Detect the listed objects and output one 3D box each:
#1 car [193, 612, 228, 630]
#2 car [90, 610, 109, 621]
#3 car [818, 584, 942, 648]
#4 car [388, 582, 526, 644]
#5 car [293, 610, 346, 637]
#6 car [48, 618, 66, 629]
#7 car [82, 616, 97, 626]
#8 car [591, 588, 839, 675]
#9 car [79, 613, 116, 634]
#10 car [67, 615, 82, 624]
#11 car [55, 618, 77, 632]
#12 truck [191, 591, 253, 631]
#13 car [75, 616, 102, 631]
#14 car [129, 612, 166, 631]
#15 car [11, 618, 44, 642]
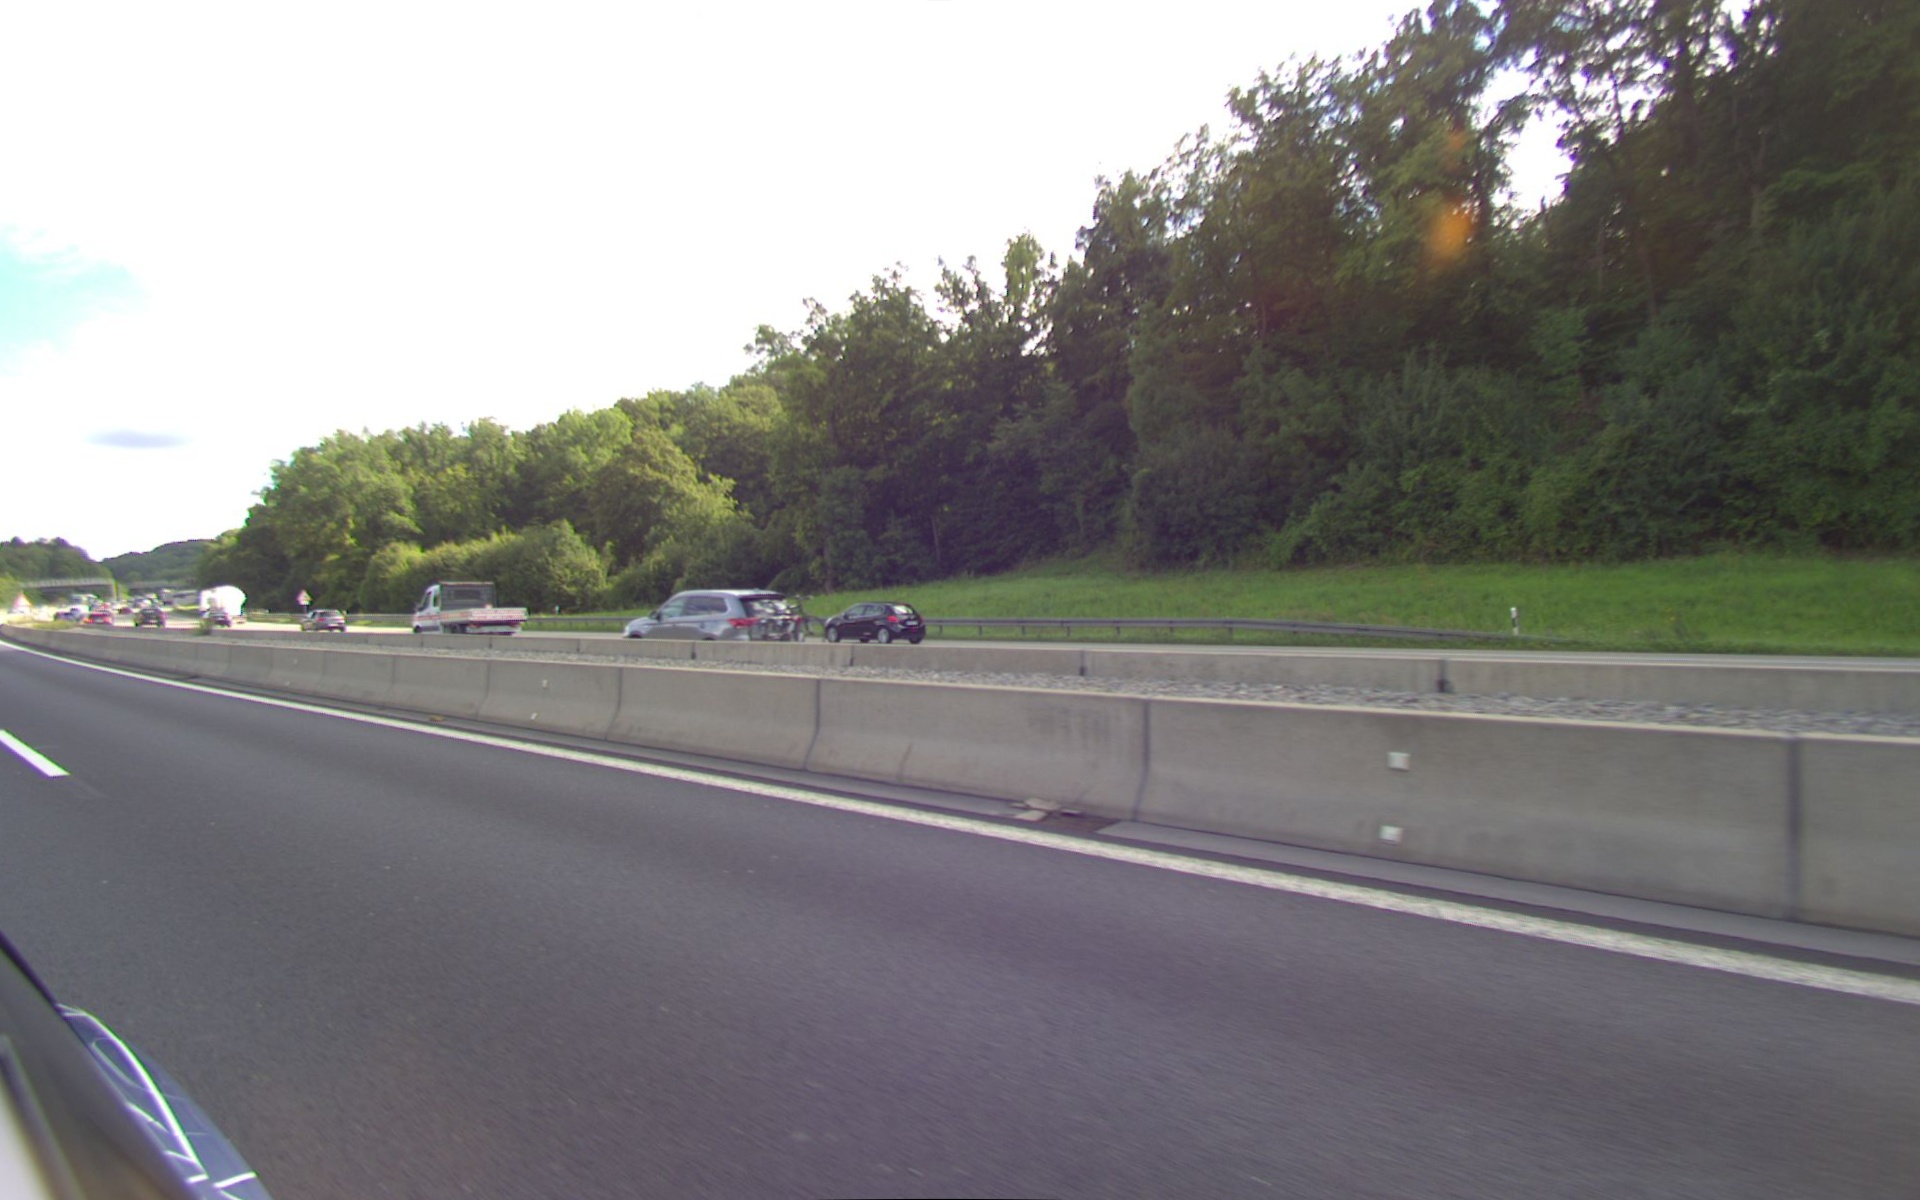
[{"bbox_3d":[-66.145,1.830,89.302,4.344,1.476,1.879,-1,0,45],"label":"car"},{"bbox_3d":[-142.479,2.634,167.495,4.002,1.767,2.075,-1,0,45],"label":"car"},{"bbox_3d":[-2.751,0.545,34.416,3.999,2.050,1.972,-1,0,42],"label":"car"},{"bbox_3d":[-19.436,0.492,38.837,8.079,2.146,2.176,-1,0,44],"label":"car"},{"bbox_3d":[-40.423,1.479,63.841,4.189,1.651,1.708,-1,0,41],"label":"car"},{"bbox_3d":[-122.836,3.193,137.630,1.579,1.509,4.067,-1,0,-44],"label":"car"},{"bbox_3d":[-165.762,4.039,192.673,2.074,1.767,4.004,-1,0,-43],"label":"car"},{"bbox_3d":[-5.179,0.600,20.735,5.960,1.521,1.961,-1,0,43],"label":"car"},{"bbox_3d":[-69.669,1.870,81.729,4.483,1.618,1.782,-1,0,43],"label":"car"},{"bbox_3d":[-175.236,3.898,200.200,2.096,1.767,4.004,-1,0,-43],"label":"car"},{"bbox_3d":[-103.500,2.922,117.189,3.843,1.542,1.580,-1,0,44],"label":"car"},{"bbox_3d":[-81.690,1.146,111.840,13.685,4.158,3.411,-1,0,45],"label":"truck"},{"bbox_3d":[-90.912,2.395,105.507,4.541,1.489,1.747,-1,0,45],"label":"car"},{"bbox_3d":[-72.272,1.927,89.973,5.042,1.627,2.014,-1,0,45],"label":"car"},{"bbox_3d":[-83.915,2.666,91.056,4.002,2.050,1.971,-2,0,45],"label":"car"}]
